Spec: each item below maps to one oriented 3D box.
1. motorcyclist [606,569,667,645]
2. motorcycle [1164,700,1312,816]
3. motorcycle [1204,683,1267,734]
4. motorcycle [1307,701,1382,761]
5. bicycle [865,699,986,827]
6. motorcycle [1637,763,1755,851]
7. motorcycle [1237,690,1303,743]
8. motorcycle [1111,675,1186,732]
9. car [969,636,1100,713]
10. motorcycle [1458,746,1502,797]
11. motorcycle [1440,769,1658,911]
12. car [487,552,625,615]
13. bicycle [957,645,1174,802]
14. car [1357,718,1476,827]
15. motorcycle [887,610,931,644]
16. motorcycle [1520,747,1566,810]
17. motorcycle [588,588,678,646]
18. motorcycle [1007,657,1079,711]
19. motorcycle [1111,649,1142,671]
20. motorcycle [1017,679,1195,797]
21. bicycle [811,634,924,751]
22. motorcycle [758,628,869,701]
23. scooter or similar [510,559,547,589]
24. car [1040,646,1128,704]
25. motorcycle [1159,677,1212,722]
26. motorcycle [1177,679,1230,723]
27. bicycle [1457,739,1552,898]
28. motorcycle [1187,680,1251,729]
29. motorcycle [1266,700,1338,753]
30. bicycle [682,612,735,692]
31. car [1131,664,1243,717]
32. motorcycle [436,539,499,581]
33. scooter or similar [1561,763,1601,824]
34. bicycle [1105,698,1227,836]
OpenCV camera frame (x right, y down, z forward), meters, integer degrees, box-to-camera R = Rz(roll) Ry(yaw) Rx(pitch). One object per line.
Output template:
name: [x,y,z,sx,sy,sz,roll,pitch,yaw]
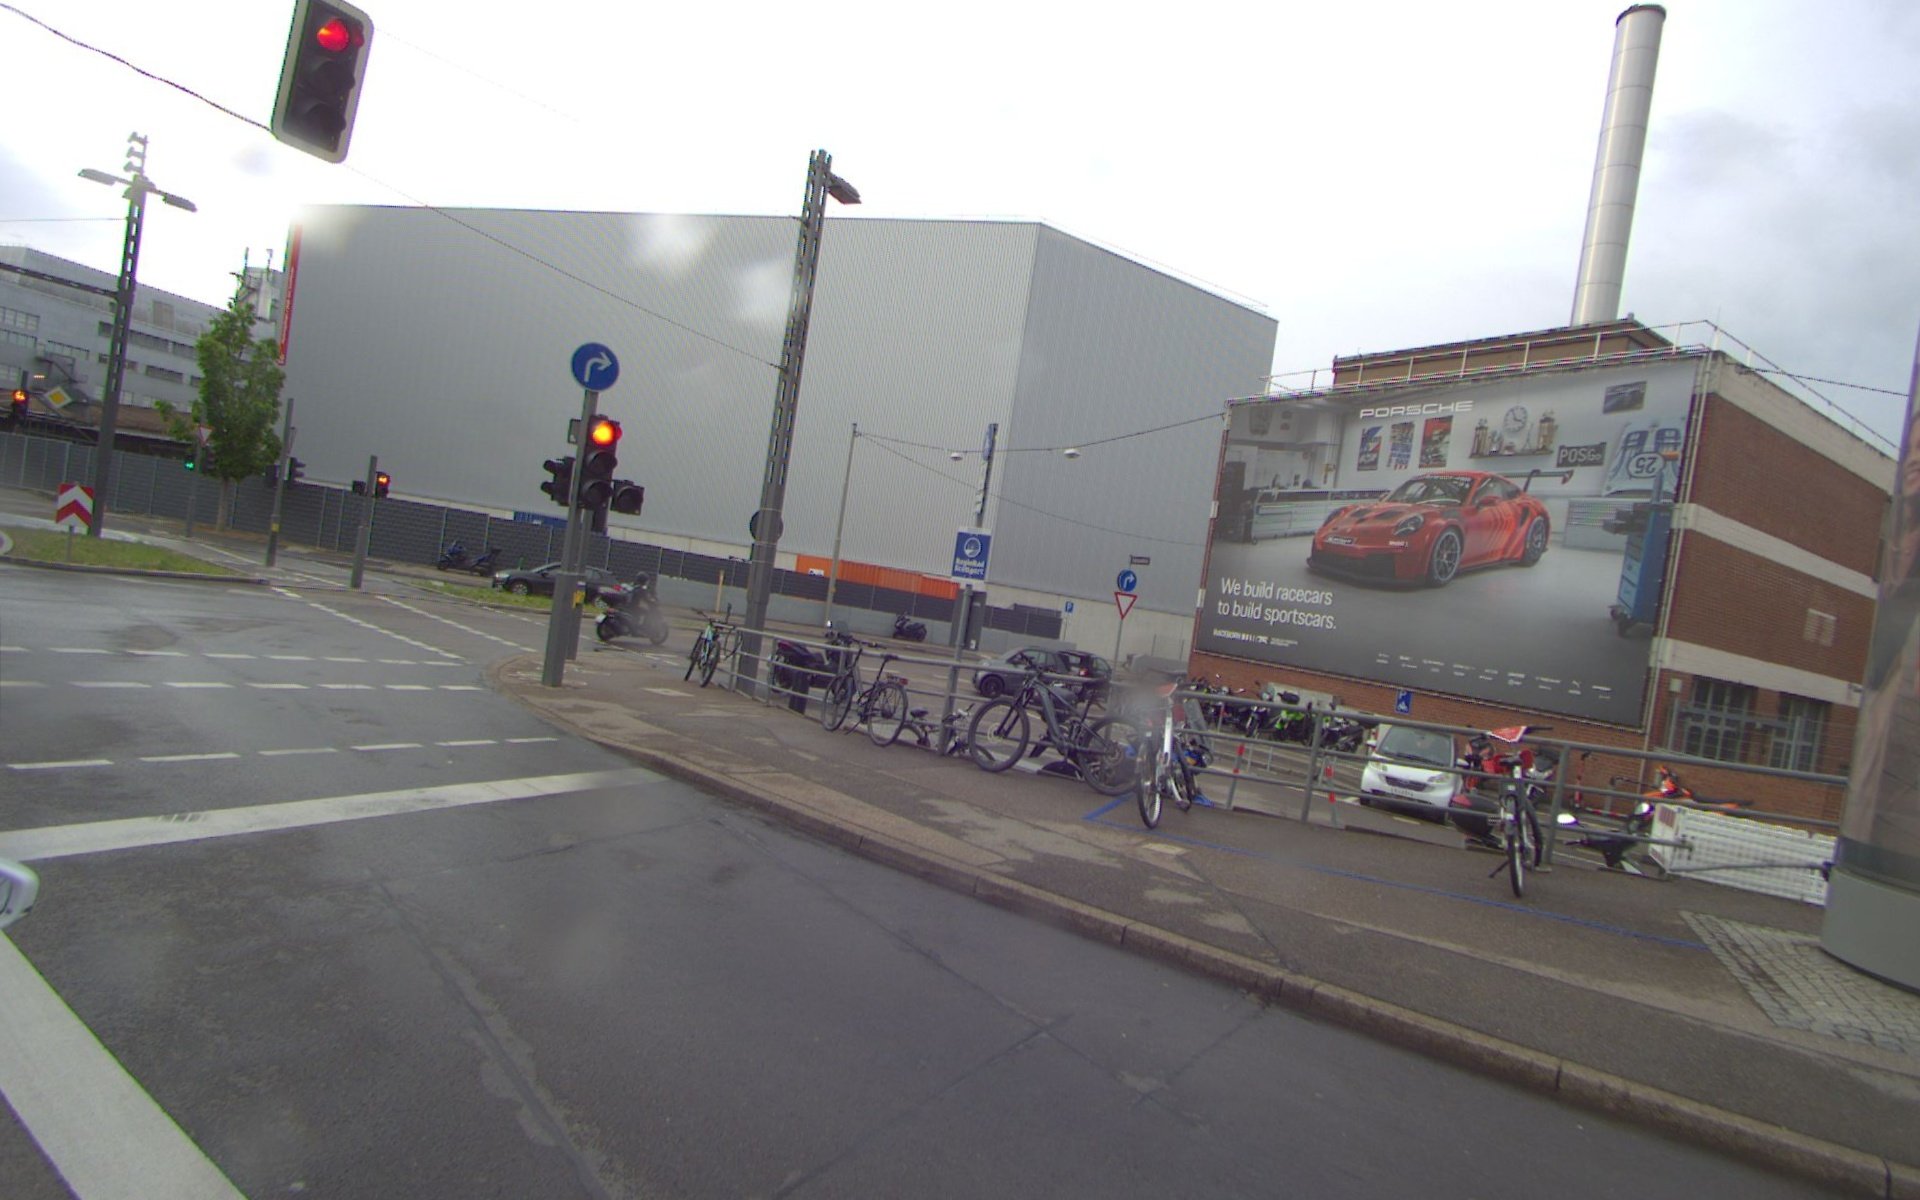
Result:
motorcyclist: [-7.563,0.170,23.561,0.659,1.642,1.034,8,1,26]
motorcycle: [2.681,1.501,9.716,1.241,0.901,0.434,6,0,23]
motorcycle: [7.427,2.929,27.140,1.631,1.194,0.541,8,-2,-30]
motorcycle: [9.352,3.201,24.442,1.788,1.253,0.540,8,1,-30]
bicycle: [-0.419,1.759,11.136,0.344,1.097,1.728,7,-1,-35]
motorcycle: [14.163,3.965,19.405,1.639,1.349,0.524,6,-1,21]
motorcycle: [8.122,3.051,26.317,1.695,1.194,0.541,8,-2,-30]
motorcycle: [4.513,2.469,24.179,0.539,1.123,1.850,8,-2,-32]
car: [1.988,2.012,27.386,3.190,1.521,1.624,9,0,-4]
motorcycle: [11.396,3.724,22.016,0.533,0.984,1.613,6,-2,36]
motorcycle: [5.088,2.063,8.774,1.512,0.901,0.403,6,0,19]
car: [-13.476,-0.550,33.606,3.958,1.442,1.707,9,-1,-30]
bicycle: [0.981,1.149,9.713,1.981,1.189,0.400,6,0,30]
car: [8.640,3.129,18.873,1.541,1.506,3.996,8,-1,29]
motorcycle: [-2.618,1.400,51.750,2.082,1.393,0.649,10,0,-33]
motorcycle: [12.365,3.757,21.329,0.576,1.165,1.717,6,-2,36]
motorcycle: [-7.620,0.423,23.553,0.442,1.207,2.265,8,0,25]
motorcycle: [2.116,2.138,25.653,1.702,1.159,0.492,8,-2,-24]
motorcycle: [10.506,3.798,63.647,0.622,1.088,1.906,8,0,-38]
motorcycle: [1.457,1.377,10.283,1.722,0.906,0.545,6,-1,44]
bicycle: [-1.078,1.011,11.377,0.344,1.097,1.728,7,-1,-35]
motorcycle: [-2.637,1.199,18.365,0.481,1.158,2.086,6,-3,41]
scooter or similar: [-17.822,-1.080,41.568,1.247,1.041,0.385,9,0,0]
car: [4.137,2.490,33.274,1.530,1.510,2.745,11,0,37]
motorcycle: [6.669,2.927,29.822,0.538,1.133,1.593,8,-2,-25]
motorcycle: [7.398,3.068,30.629,0.538,1.123,1.639,8,-2,-25]
bicycle: [4.056,1.554,7.447,0.414,0.933,1.613,8,0,32]
motorcycle: [7.295,2.947,28.345,1.631,1.194,0.670,8,-2,-30]
motorcycle: [8.508,3.148,25.004,1.789,1.132,0.474,8,-2,-28]
bicycle: [-4.082,0.806,16.225,0.416,1.143,2.064,7,-2,-22]
car: [8.351,3.330,36.843,4.070,1.460,1.554,9,-2,-35]
motorcycle: [-19.811,-1.596,40.499,2.082,1.326,0.649,10,0,-33]
scooter or similar: [12.904,3.993,20.881,0.496,1.109,1.635,6,-2,36]
bicycle: [1.757,1.331,8.394,0.414,0.973,1.744,6,-1,29]
